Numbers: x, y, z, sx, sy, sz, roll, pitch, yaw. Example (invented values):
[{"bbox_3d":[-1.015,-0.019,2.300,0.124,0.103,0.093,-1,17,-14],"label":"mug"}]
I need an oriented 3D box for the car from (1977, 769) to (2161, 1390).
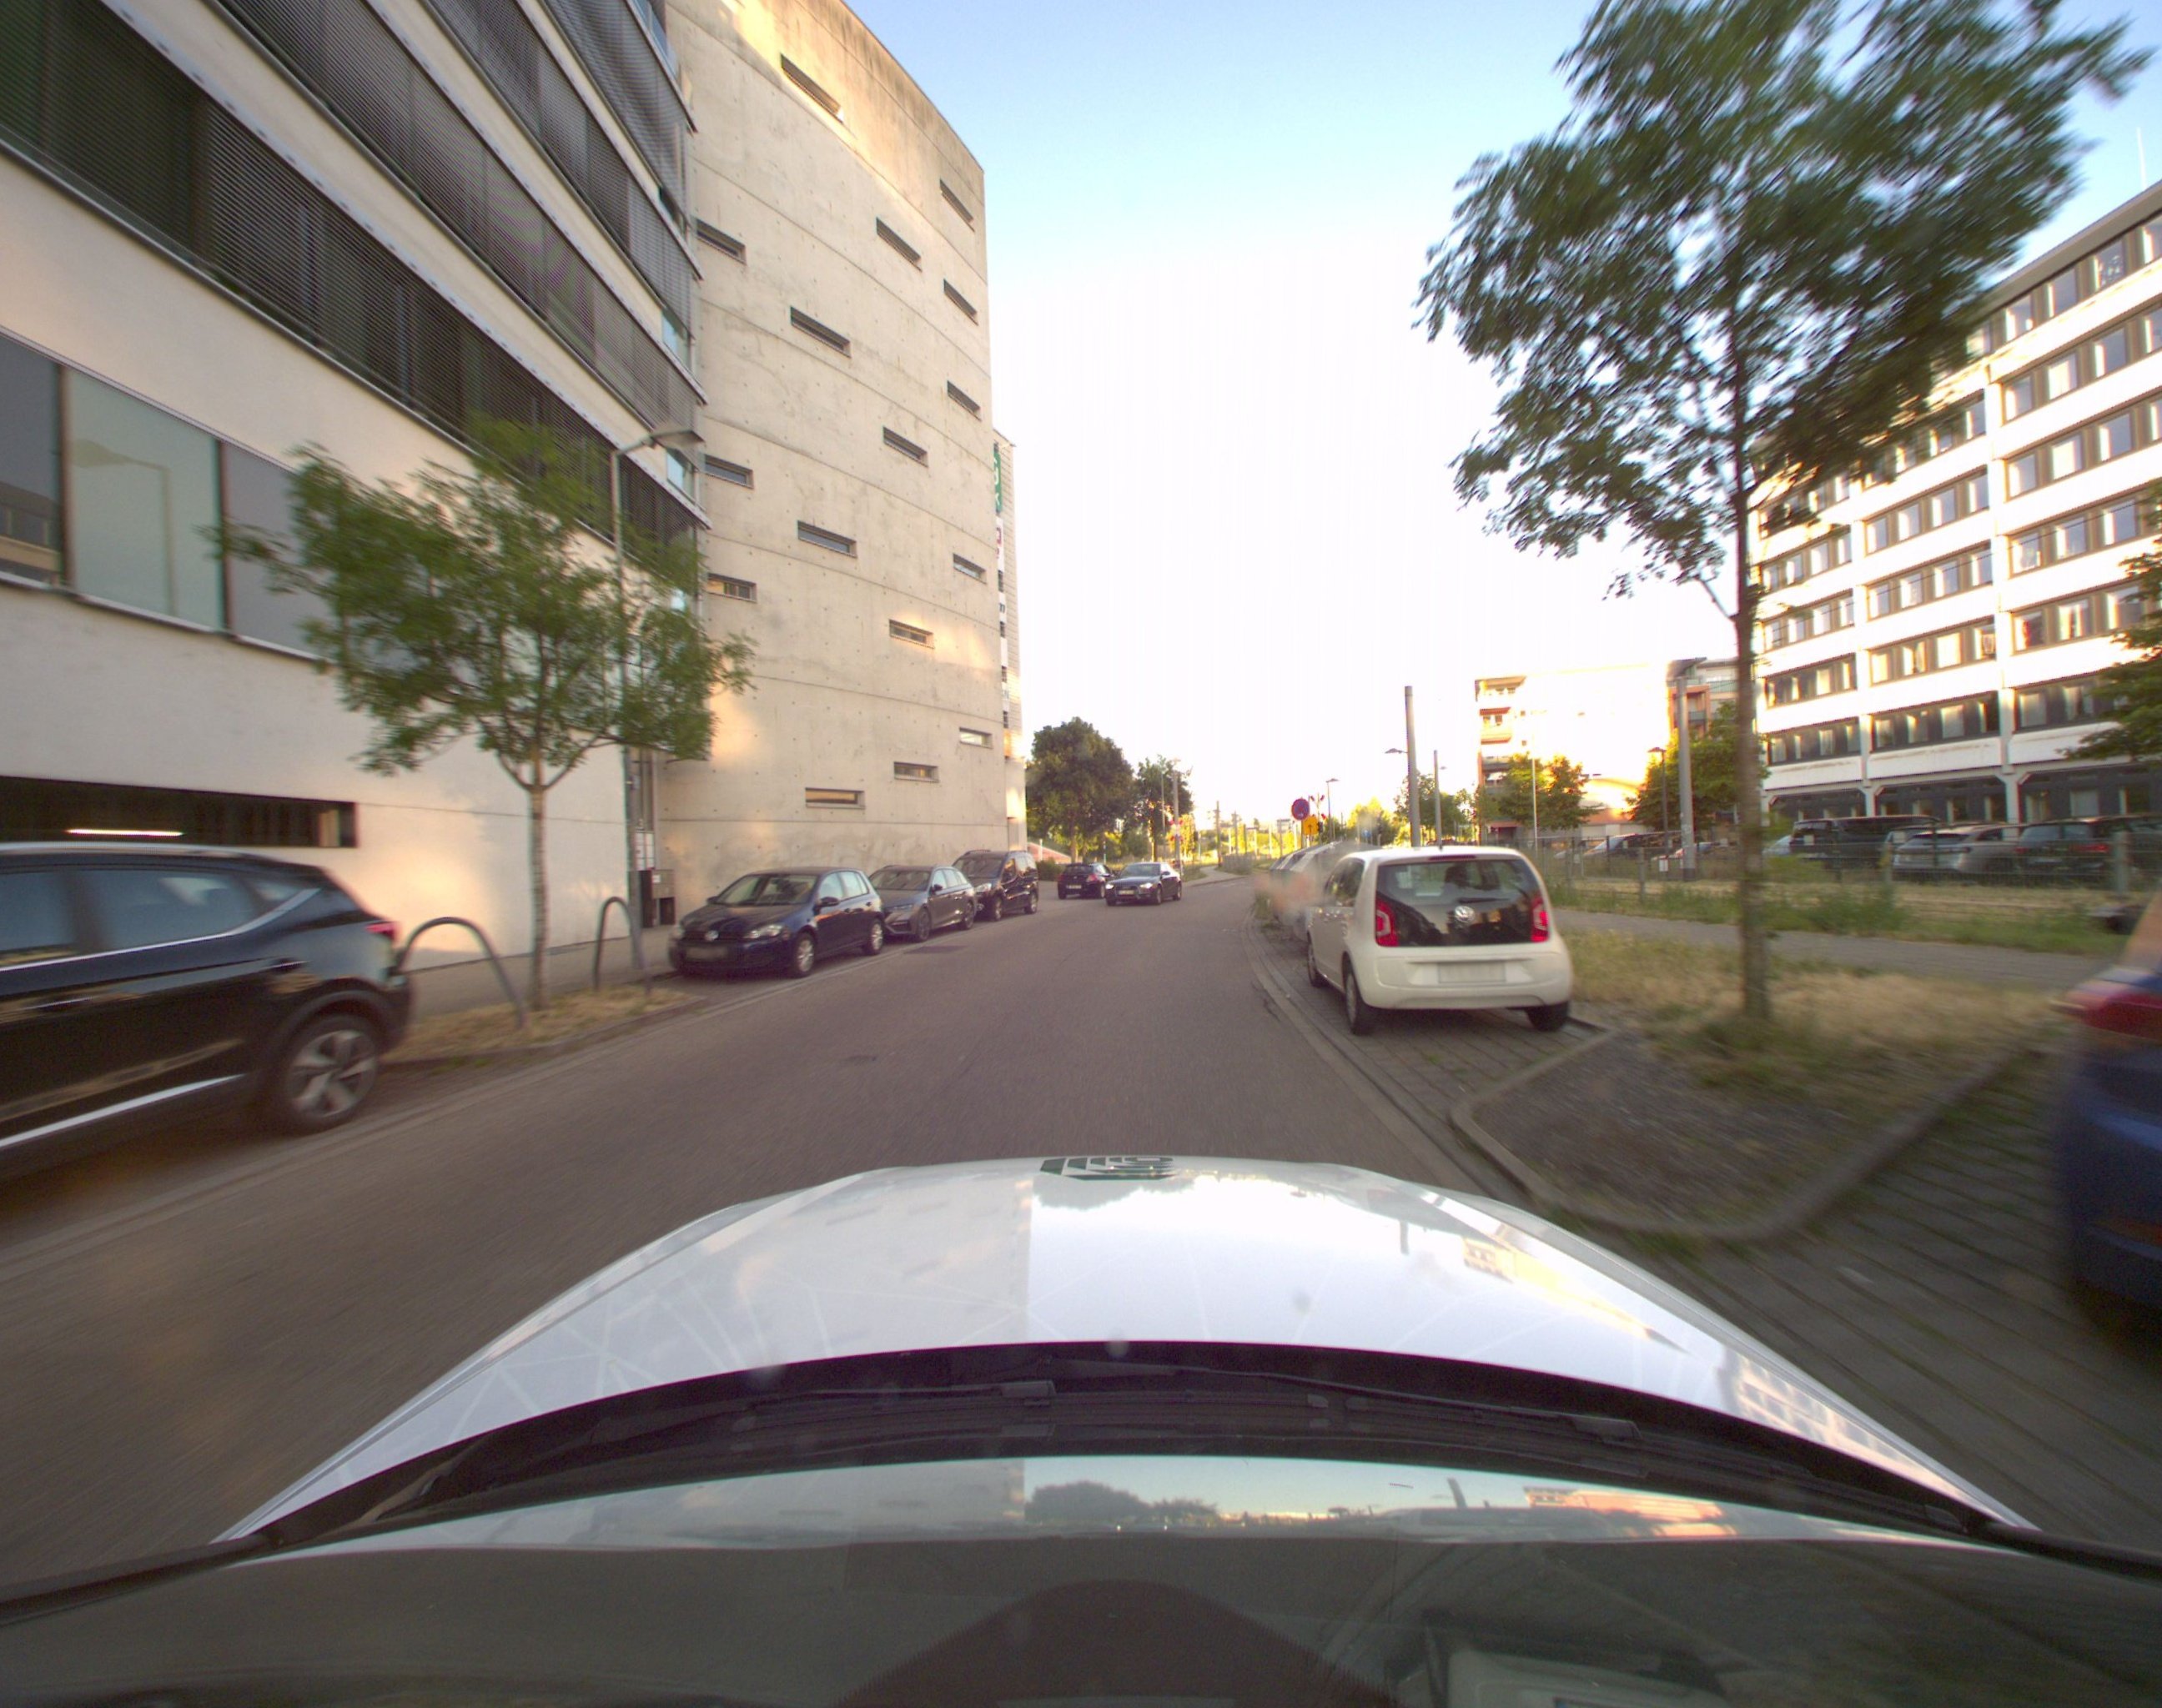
[{"bbox_3d":[4.471,0.522,2.596,3.769,1.509,1.670,-1,0,-34],"label":"car"}]

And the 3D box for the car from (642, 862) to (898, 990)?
[{"bbox_3d":[-4.282,0.893,12.059,1.713,1.457,4.280,0,0,7],"label":"car"}]

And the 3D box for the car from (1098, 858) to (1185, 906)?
[{"bbox_3d":[2.162,0.896,27.845,1.763,1.422,4.538,-2,0,20],"label":"car"}]

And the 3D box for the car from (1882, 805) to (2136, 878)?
[{"bbox_3d":[23.447,-0.303,20.693,4.481,1.602,1.694,-2,0,0],"label":"car"}]

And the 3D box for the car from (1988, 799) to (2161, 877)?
[{"bbox_3d":[23.524,-0.396,18.244,4.481,1.602,1.694,-2,0,0],"label":"car"}]

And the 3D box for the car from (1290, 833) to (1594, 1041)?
[{"bbox_3d":[3.079,0.610,7.736,1.712,1.467,3.561,-3,0,9],"label":"car"}]

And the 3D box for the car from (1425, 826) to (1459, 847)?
[{"bbox_3d":[48.544,-2.306,109.517,4.117,2.584,1.712,-2,0,22],"label":"car"}]

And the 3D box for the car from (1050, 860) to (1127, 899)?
[{"bbox_3d":[0.392,0.975,32.701,1.929,1.382,4.419,0,0,17],"label":"car"}]

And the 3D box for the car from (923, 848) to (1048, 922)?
[{"bbox_3d":[-2.446,0.729,22.119,1.744,1.798,4.482,0,0,16],"label":"car"}]

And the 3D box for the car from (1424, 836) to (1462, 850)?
[{"bbox_3d":[44.178,-1.333,99.473,4.115,1.576,1.713,-2,0,26],"label":"car"}]

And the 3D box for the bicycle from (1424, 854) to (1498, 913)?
[{"bbox_3d":[7.608,0.563,16.388,0.760,1.082,1.691,-2,0,4],"label":"bicycle"}]

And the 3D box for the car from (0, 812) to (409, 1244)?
[{"bbox_3d":[-5.022,0.671,3.026,1.750,1.653,3.948,0,0,0],"label":"car"}]

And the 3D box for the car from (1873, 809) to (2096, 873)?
[{"bbox_3d":[25.988,-0.361,23.532,4.480,1.602,1.694,-2,0,1],"label":"car"}]

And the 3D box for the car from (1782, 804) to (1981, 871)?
[{"bbox_3d":[25.976,-0.511,26.547,4.478,1.937,1.932,-2,0,2],"label":"car"}]

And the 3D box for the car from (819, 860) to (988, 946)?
[{"bbox_3d":[-3.482,0.894,17.026,1.711,1.457,4.708,0,0,11],"label":"car"}]
